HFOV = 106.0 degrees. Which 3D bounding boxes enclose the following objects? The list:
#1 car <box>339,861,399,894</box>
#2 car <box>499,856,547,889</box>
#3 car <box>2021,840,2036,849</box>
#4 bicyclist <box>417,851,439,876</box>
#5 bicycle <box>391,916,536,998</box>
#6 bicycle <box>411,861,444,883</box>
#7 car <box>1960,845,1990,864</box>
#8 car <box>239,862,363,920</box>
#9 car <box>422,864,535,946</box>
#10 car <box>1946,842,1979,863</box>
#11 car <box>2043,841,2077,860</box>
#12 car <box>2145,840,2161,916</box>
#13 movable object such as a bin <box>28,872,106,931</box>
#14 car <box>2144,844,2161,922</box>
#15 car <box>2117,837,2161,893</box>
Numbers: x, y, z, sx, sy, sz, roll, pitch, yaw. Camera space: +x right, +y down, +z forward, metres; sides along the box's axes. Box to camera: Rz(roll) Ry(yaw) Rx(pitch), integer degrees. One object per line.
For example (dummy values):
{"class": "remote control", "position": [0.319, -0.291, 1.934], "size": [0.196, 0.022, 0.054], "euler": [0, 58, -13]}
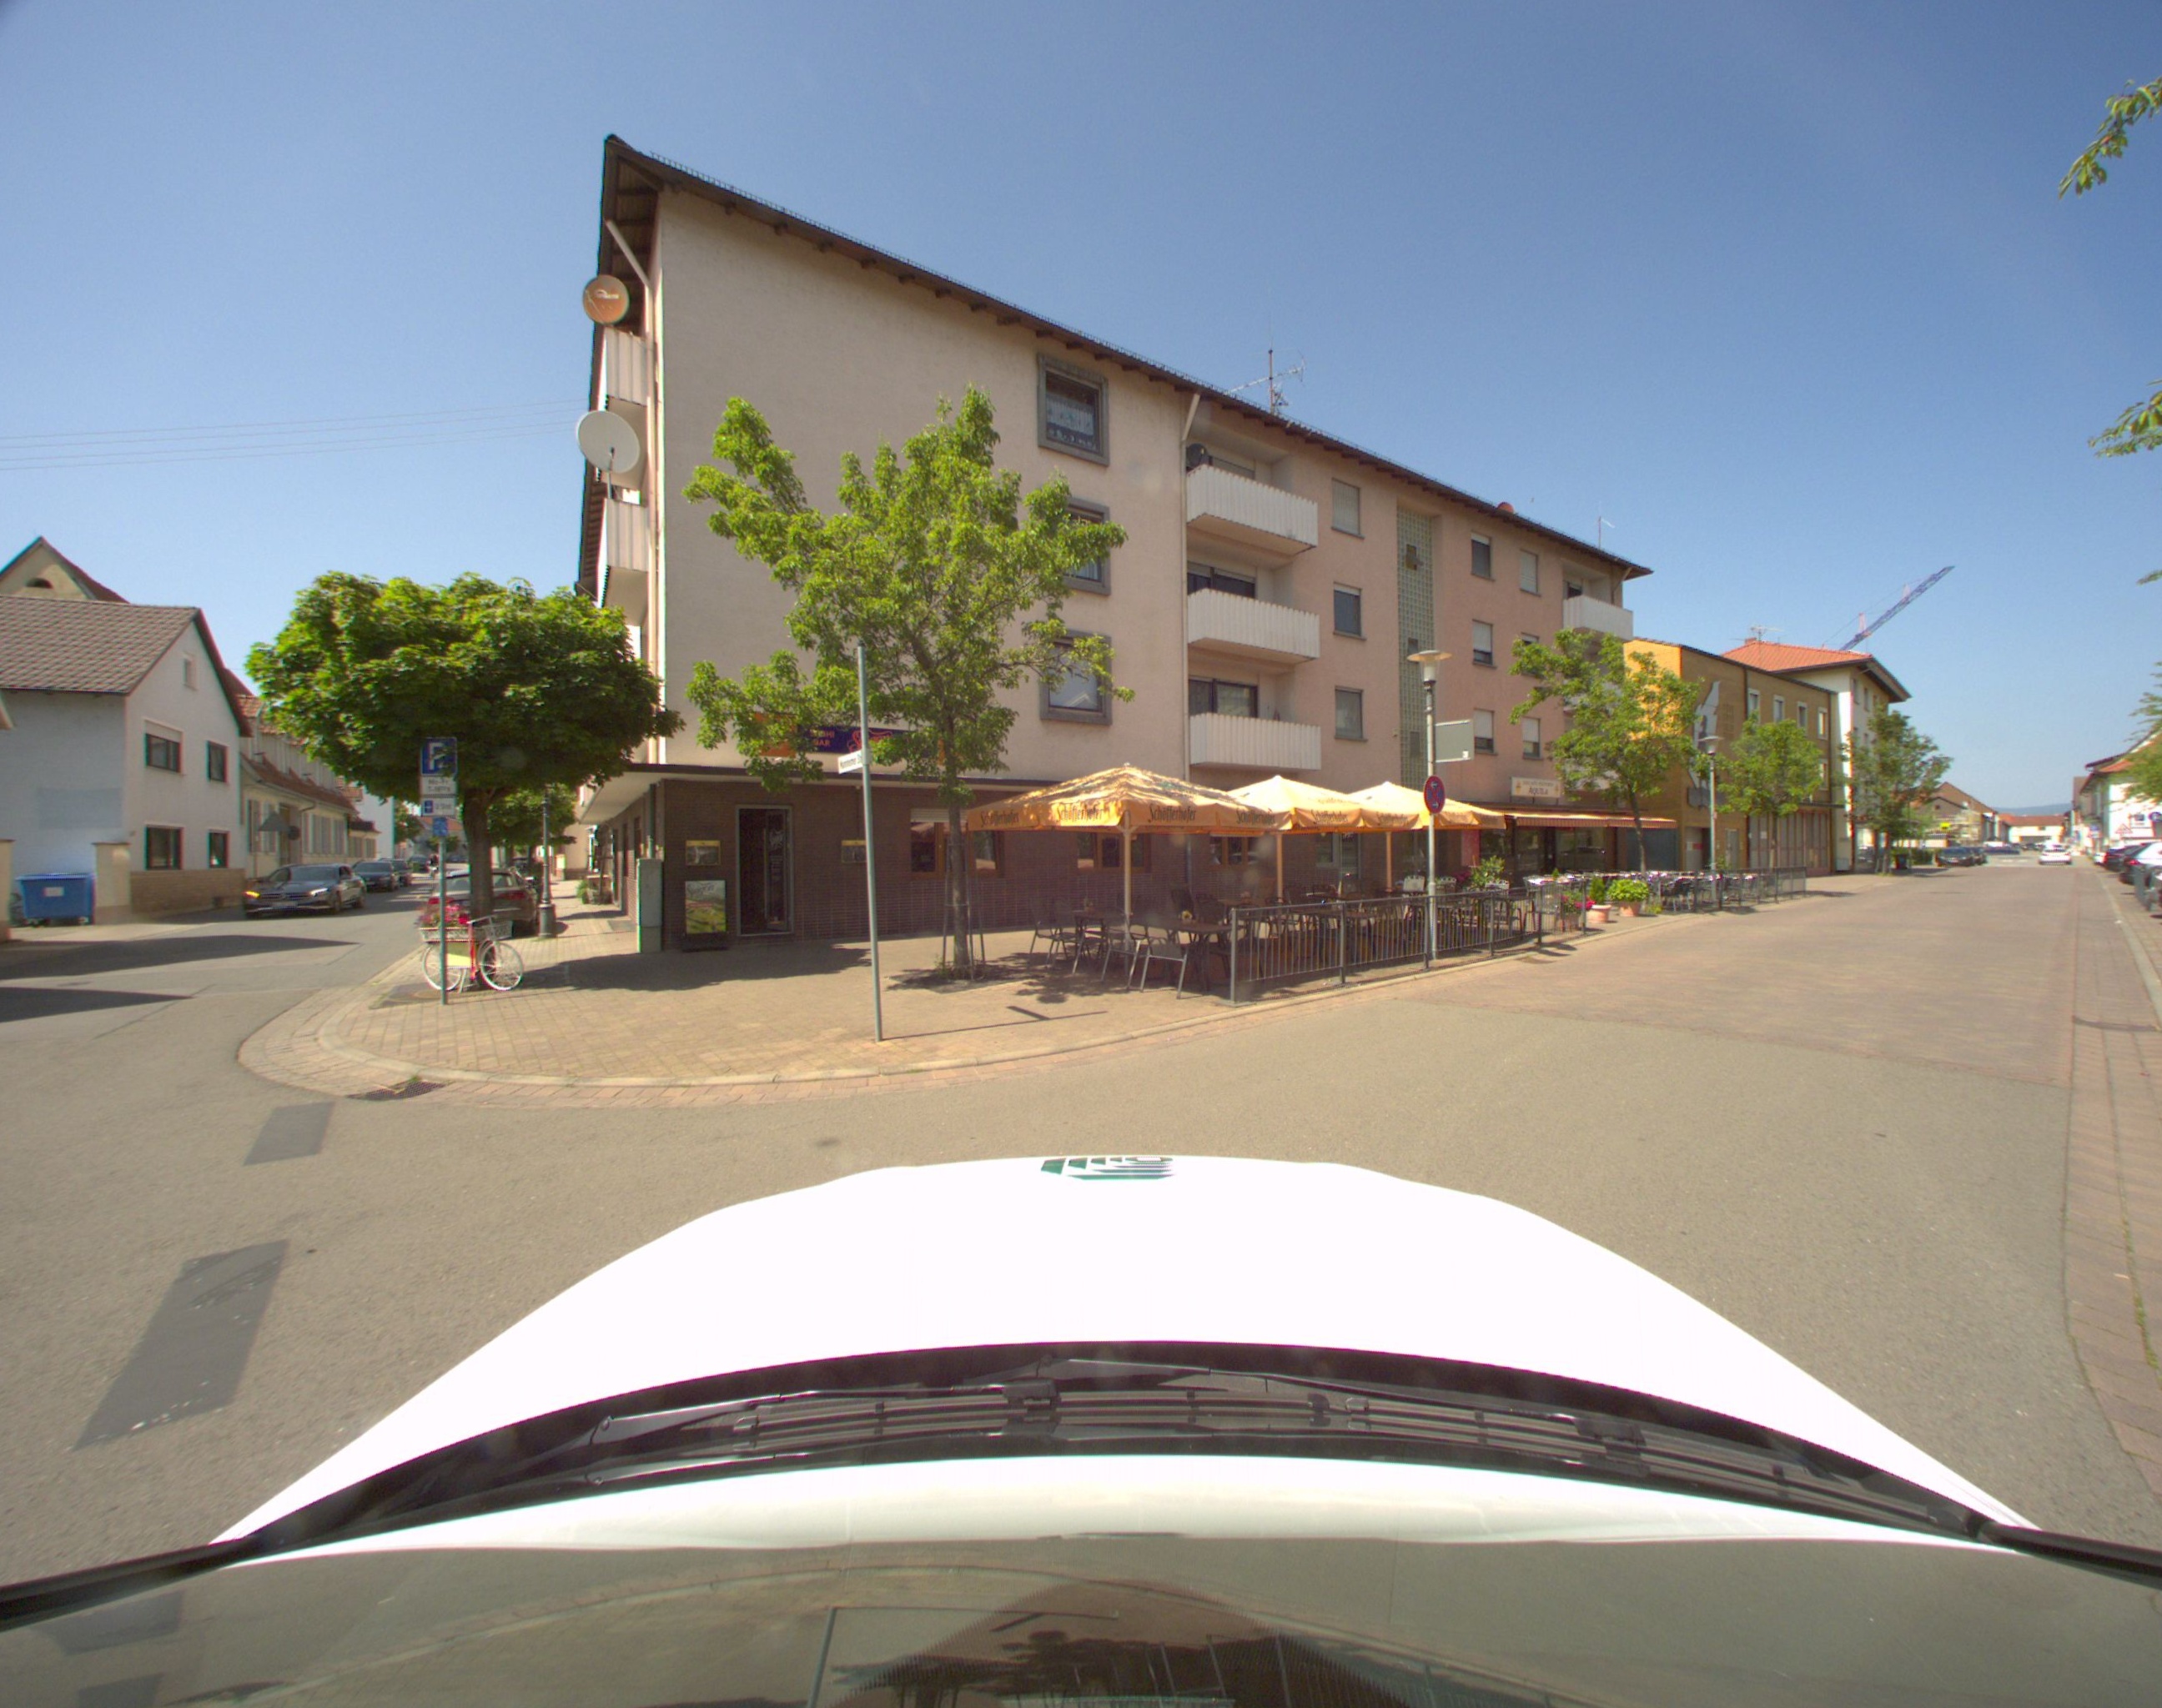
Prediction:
{"class": "car", "position": [-34.310, 1.089, 39.343], "size": [1.675, 1.476, 4.090], "euler": [-2, 1, -34]}
{"class": "car", "position": [-30.838, 0.979, 45.089], "size": [2.058, 1.689, 4.791], "euler": [-2, 1, -34]}
{"class": "car", "position": [183.705, -1.835, 157.864], "size": [3.646, 1.481, 1.733], "euler": [-2, 1, -38]}
{"class": "bicyclist", "position": [-43.481, 0.632, 54.227], "size": [1.055, 1.637, 1.115], "euler": [-2, 1, -40]}
{"class": "bicycle", "position": [-7.594, 1.256, 10.044], "size": [1.404, 0.897, 0.465], "euler": [-2, 1, 2]}
{"class": "bicycle", "position": [-43.634, 1.190, 54.364], "size": [1.637, 1.370, 3.880], "euler": [-2, 1, -40]}
{"class": "car", "position": [77.822, 0.030, 70.900], "size": [3.846, 1.500, 1.495], "euler": [-2, 1, -39]}
{"class": "car", "position": [-23.223, 1.102, 24.440], "size": [1.923, 1.481, 4.791], "euler": [-2, -1, -35]}
{"class": "car", "position": [-12.478, 0.978, 17.048], "size": [1.587, 1.454, 3.451], "euler": [-2, 0, -32]}
{"class": "car", "position": [68.518, -0.108, 63.293], "size": [3.846, 1.500, 1.495], "euler": [-2, 1, -39]}
{"class": "car", "position": [86.063, -0.290, 71.595], "size": [3.965, 1.532, 1.816], "euler": [-2, 1, -39]}
{"class": "car", "position": [24.357, 0.482, 16.037], "size": [1.767, 1.574, 4.120], "euler": [-2, 1, -37]}
{"class": "movable object such as a bin", "position": [-24.977, 1.163, 20.078], "size": [1.109, 1.365, 0.386], "euler": [-2, 0, -31]}
{"class": "car", "position": [22.191, 0.521, 14.457], "size": [1.722, 1.489, 3.909], "euler": [-1, 0, -33]}
{"class": "car", "position": [32.989, 0.301, 23.220], "size": [1.566, 1.615, 4.208], "euler": [-1, 0, -39]}
